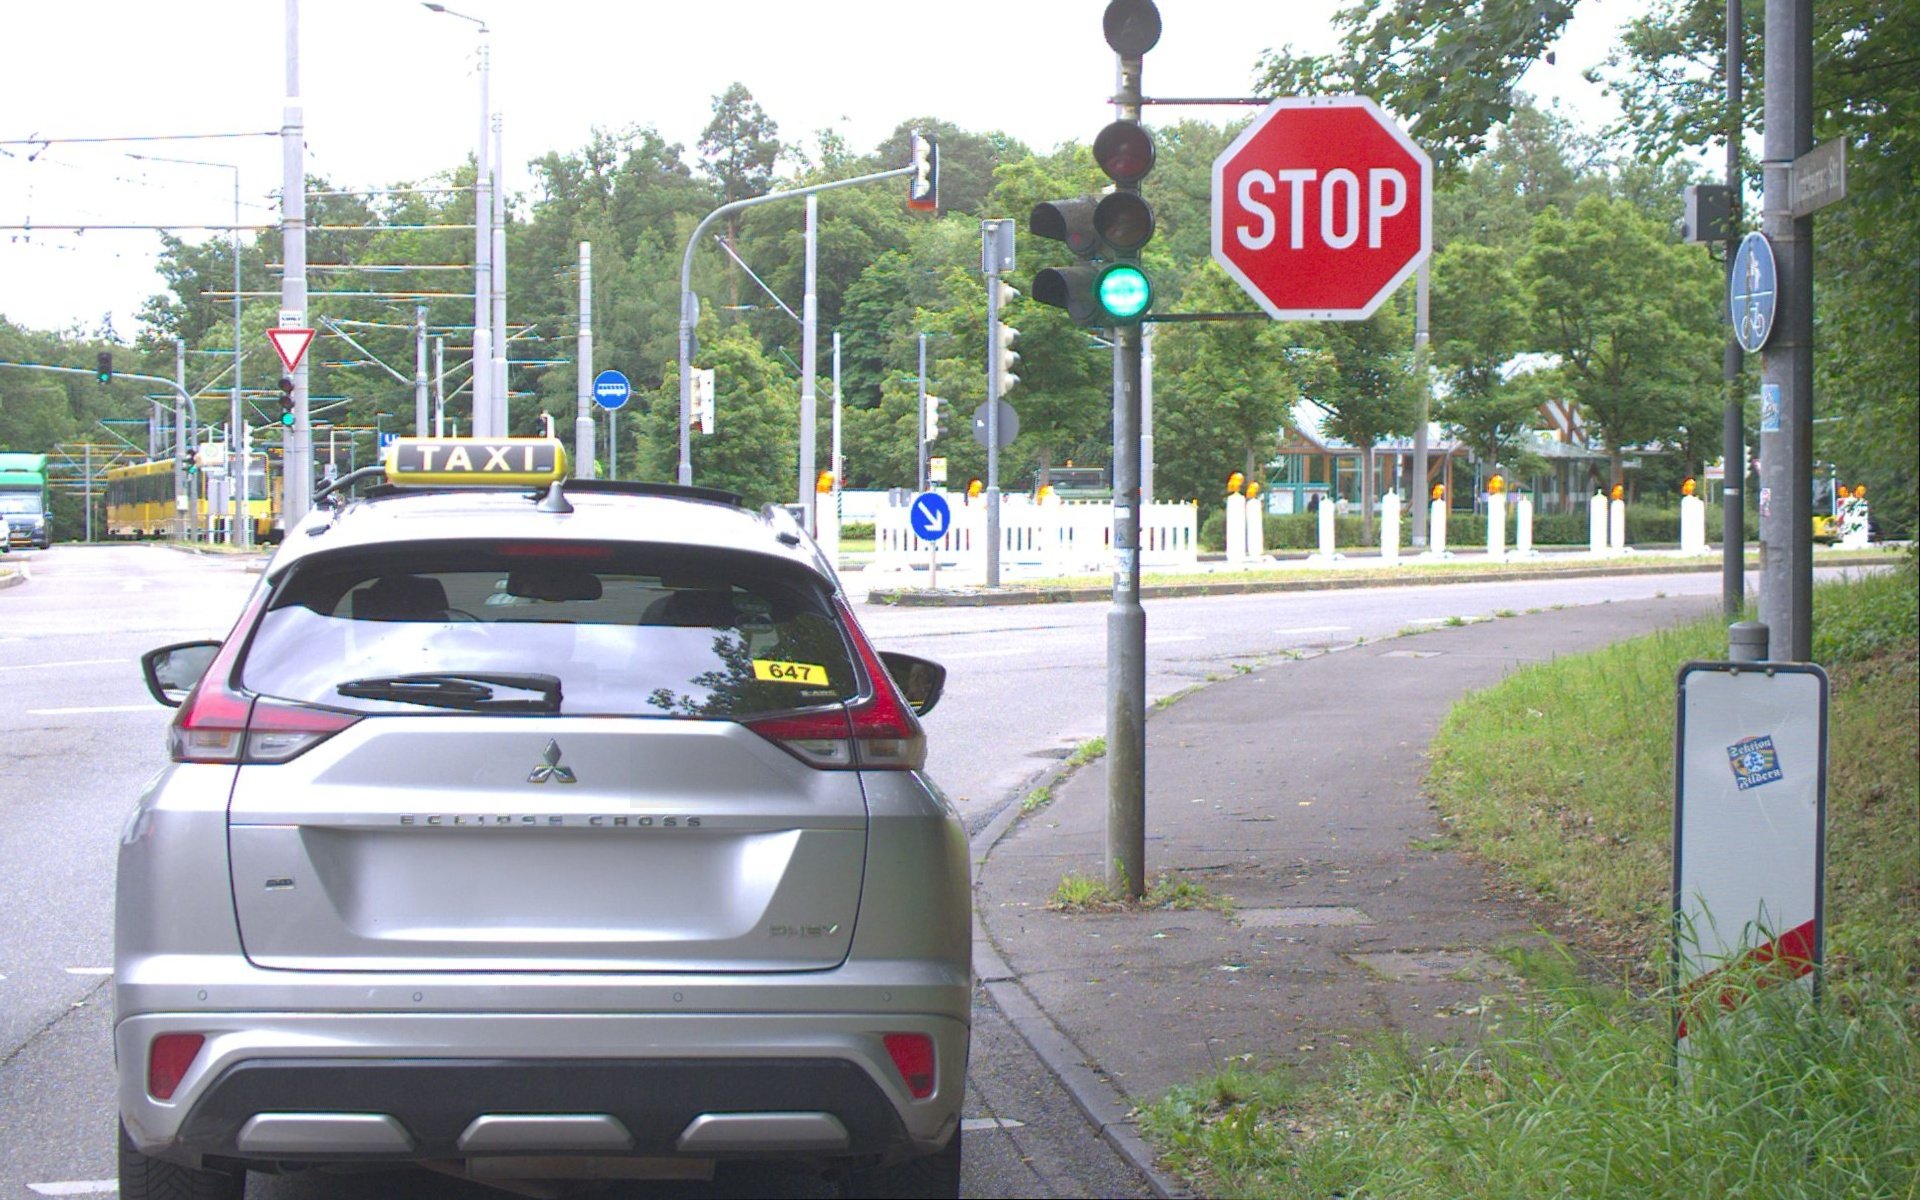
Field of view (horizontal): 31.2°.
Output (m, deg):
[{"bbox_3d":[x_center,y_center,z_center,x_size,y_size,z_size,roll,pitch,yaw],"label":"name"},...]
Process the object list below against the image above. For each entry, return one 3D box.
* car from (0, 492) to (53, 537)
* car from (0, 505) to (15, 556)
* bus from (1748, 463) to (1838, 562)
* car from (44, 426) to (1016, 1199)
[{"bbox_3d":[-32.627,-2.977,119.369,1.961,1.535,4.312,0,2,-12],"label":"car"},{"bbox_3d":[-30.300,-2.169,106.028,1.961,1.536,4.397,0,2,-12],"label":"car"},{"bbox_3d":[31.705,-3.378,131.242,2.823,3.590,12.798,1,2,11],"label":"bus"},{"bbox_3d":[-0.966,0.524,8.326,1.773,1.742,3.781,1,1,-5],"label":"car"}]
